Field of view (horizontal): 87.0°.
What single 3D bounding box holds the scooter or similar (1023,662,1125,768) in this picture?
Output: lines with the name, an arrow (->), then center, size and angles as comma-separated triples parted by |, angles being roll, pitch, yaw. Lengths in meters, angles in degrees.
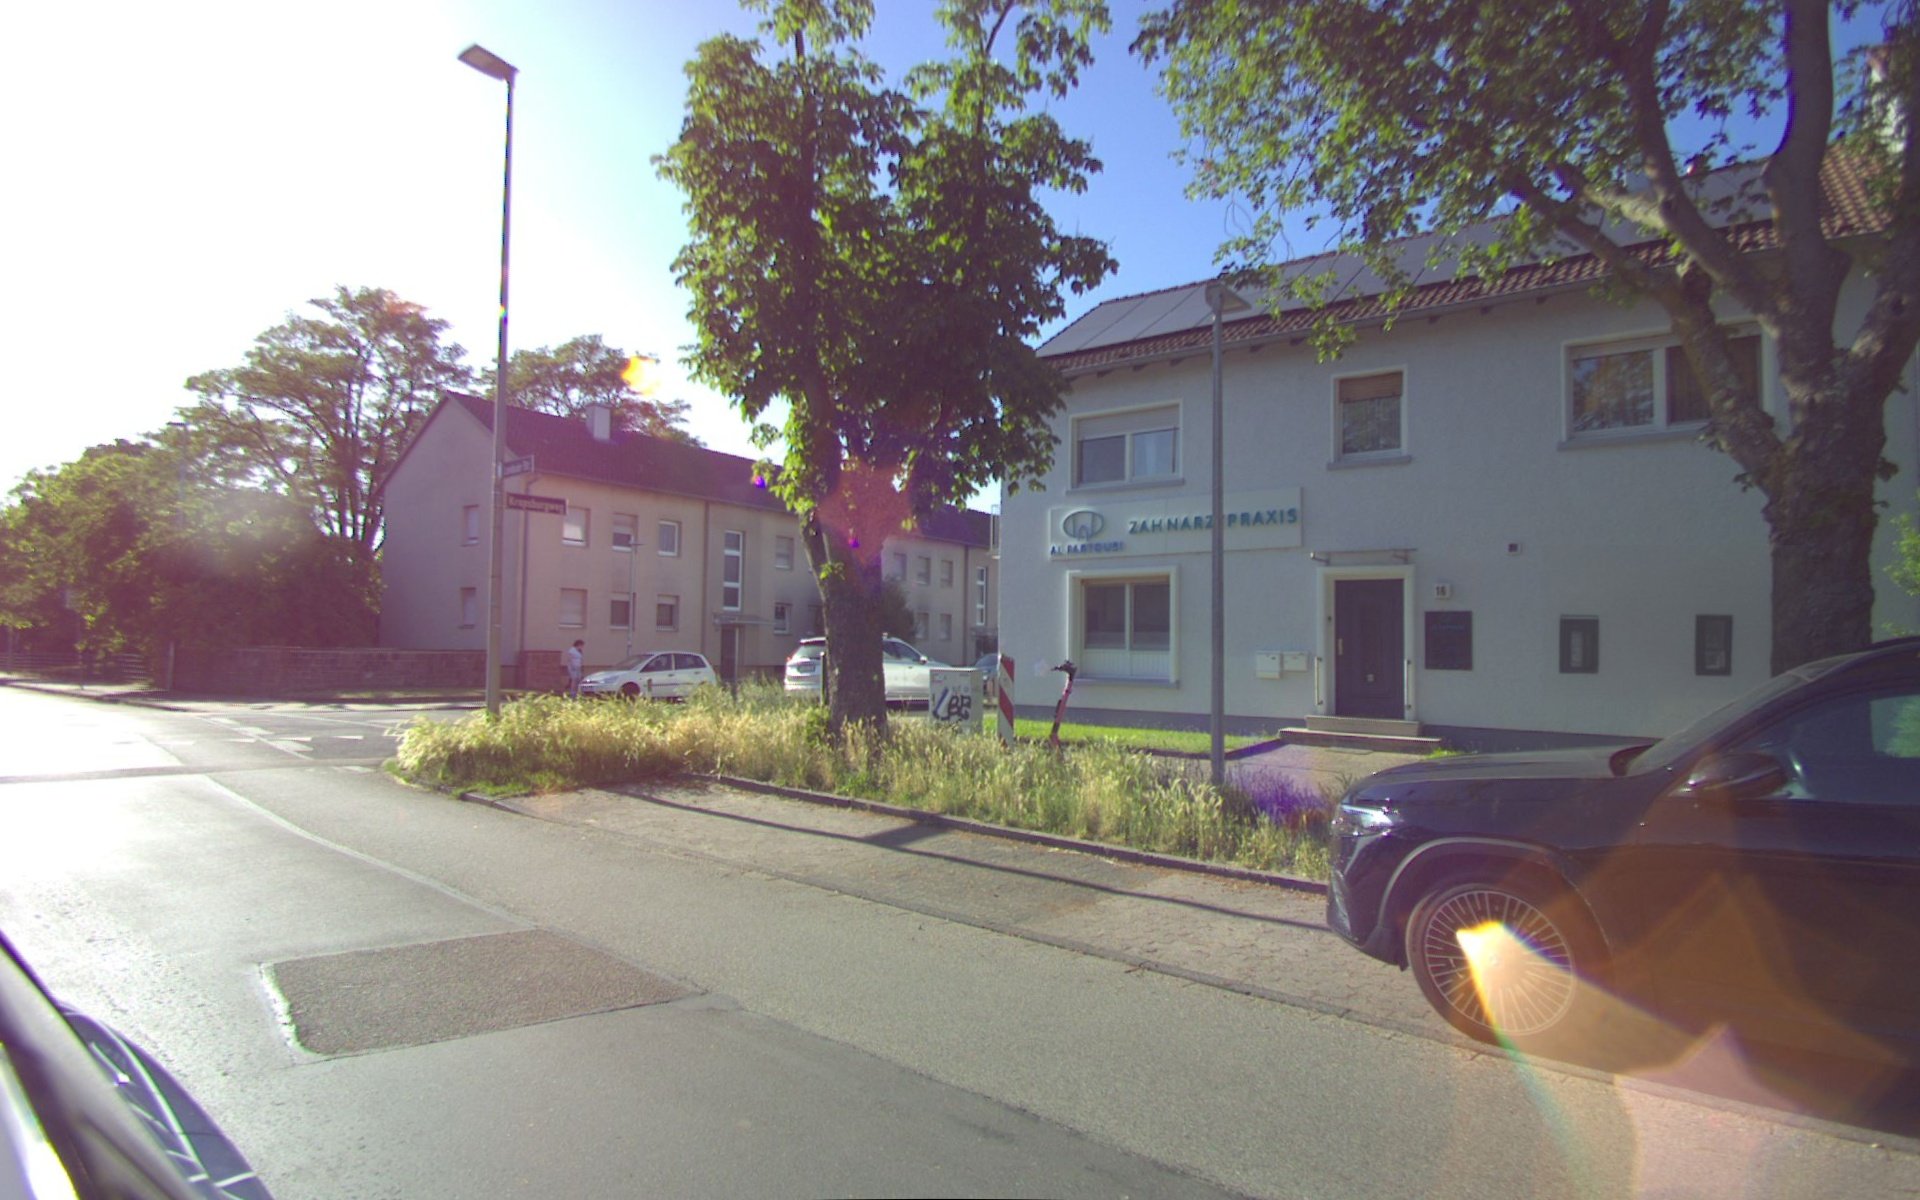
scooter or similar -> 1.142, 1.138, 10.210 | 0.996, 1.008, 0.332 | -2, -4, 37

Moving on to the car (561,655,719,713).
car -> -8.694, 2.288, 27.751 | 1.868, 1.490, 3.730 | -4, -6, 38

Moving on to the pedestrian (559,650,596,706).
pedestrian -> -11.001, 2.224, 29.085 | 0.638, 1.565, 0.776 | -4, -4, 36

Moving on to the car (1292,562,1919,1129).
car -> 3.915, 0.766, 3.559 | 4.873, 1.740, 1.933 | -1, -2, 41

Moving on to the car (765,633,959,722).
car -> -2.181, 1.799, 23.538 | 1.996, 1.852, 4.447 | -6, -6, 37

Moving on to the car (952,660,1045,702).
car -> 1.598, 3.274, 41.204 | 1.869, 1.626, 3.728 | -4, -6, 40
